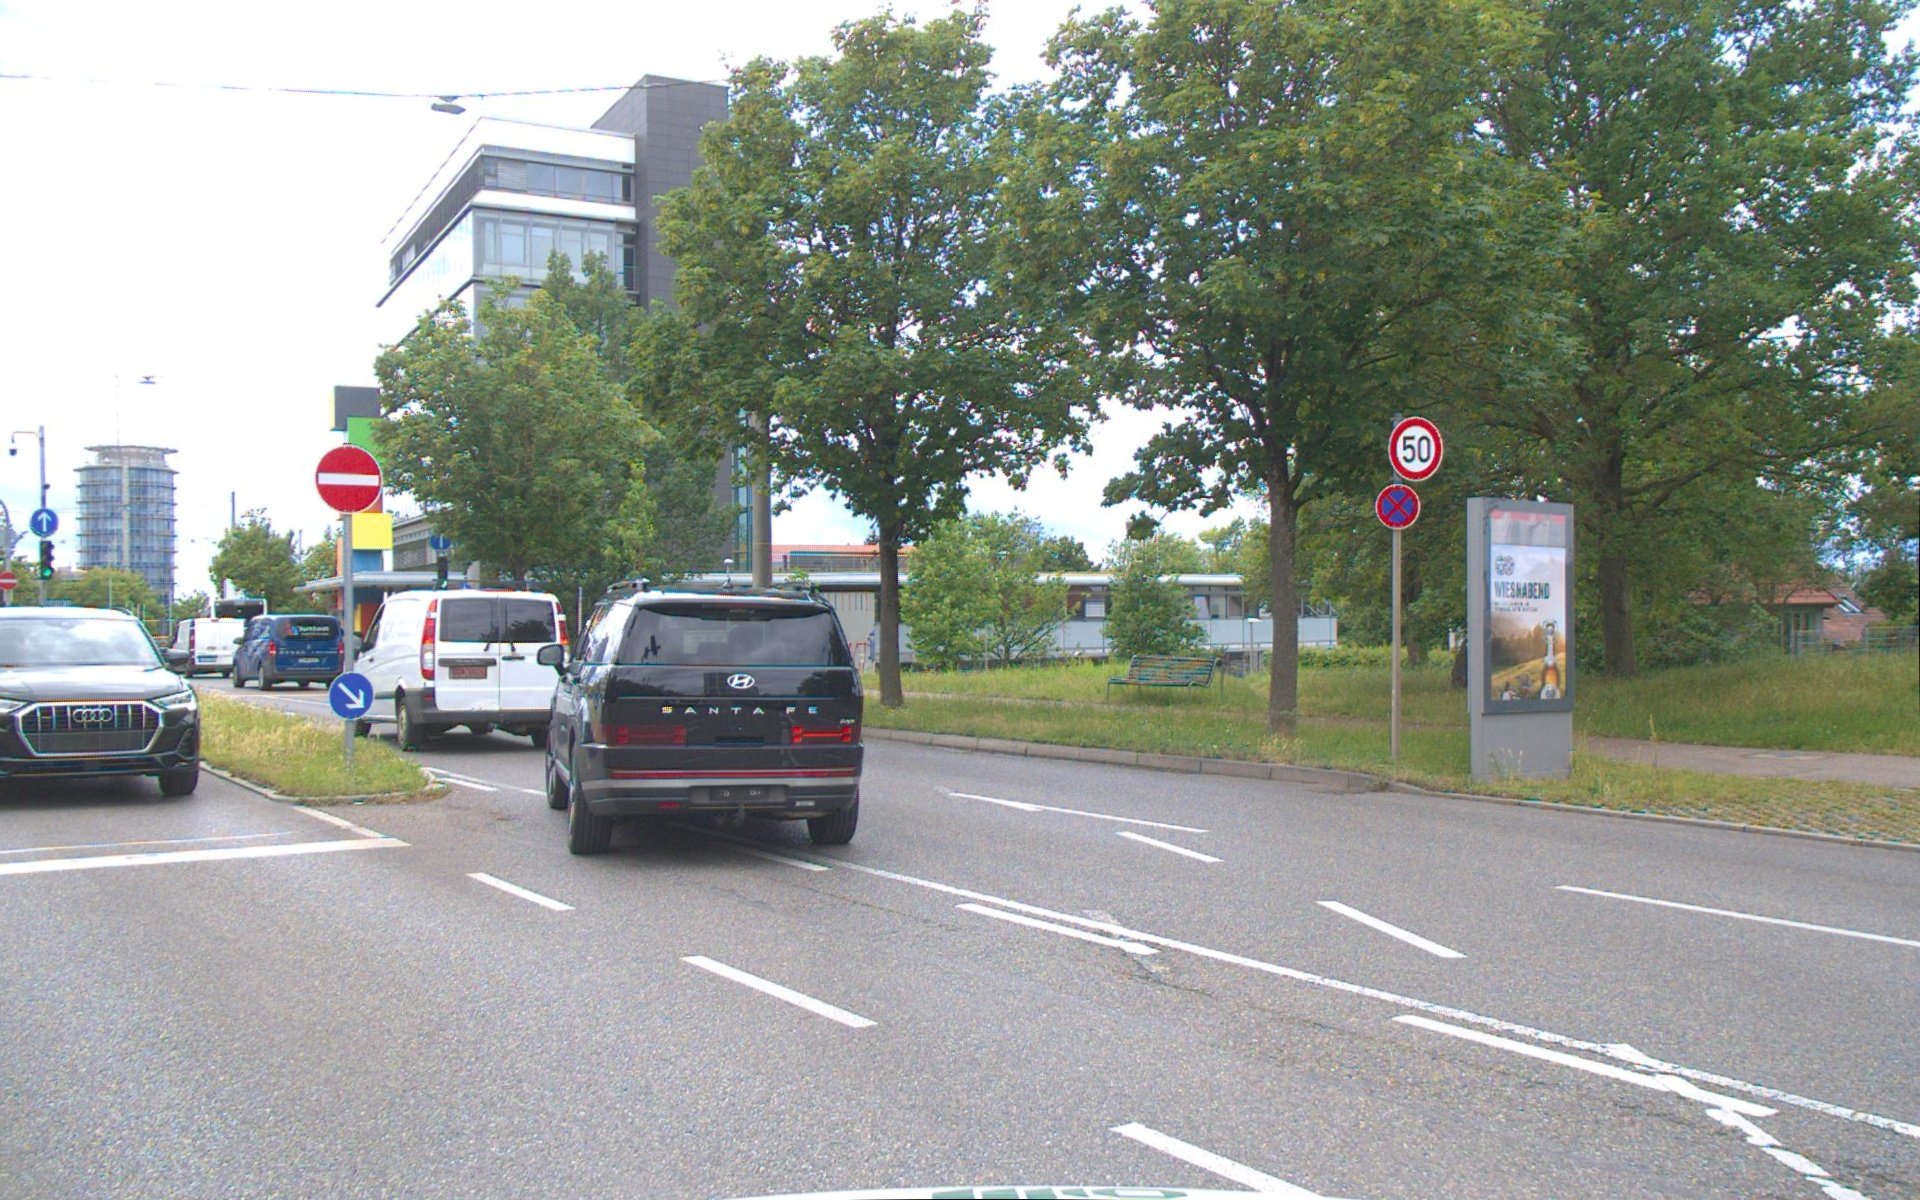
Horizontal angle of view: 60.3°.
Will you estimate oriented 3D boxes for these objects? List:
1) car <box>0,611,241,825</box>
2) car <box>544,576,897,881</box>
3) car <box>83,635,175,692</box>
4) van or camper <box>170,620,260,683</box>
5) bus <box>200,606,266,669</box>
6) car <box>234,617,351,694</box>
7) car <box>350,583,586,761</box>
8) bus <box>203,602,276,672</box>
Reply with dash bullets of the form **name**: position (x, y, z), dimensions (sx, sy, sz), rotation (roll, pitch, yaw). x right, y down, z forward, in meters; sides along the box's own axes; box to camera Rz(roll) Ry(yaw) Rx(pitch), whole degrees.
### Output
- **car**: position (-7.890, 0.917, 14.716), dimensions (1.873, 1.592, 4.341), rotation (2, -1, -35)
- **car**: position (-1.926, 0.794, 11.971), dimensions (1.872, 1.762, 4.425), rotation (1, -1, -17)
- **car**: position (-23.150, 1.737, 45.995), dimensions (1.855, 1.443, 4.393), rotation (2, -1, -32)
- **van or camper**: position (-25.059, 1.696, 55.548), dimensions (1.977, 1.951, 4.354), rotation (1, 0, -35)
- **bus**: position (-39.822, 2.066, 90.407), dimensions (2.916, 3.166, 9.892), rotation (-1, -1, -26)
- **car**: position (-17.397, 1.402, 42.968), dimensions (1.885, 1.892, 4.654), rotation (2, -2, -34)
- **car**: position (-6.399, 0.855, 21.149), dimensions (1.882, 2.003, 4.589), rotation (2, -1, -30)
- **bus**: position (-35.742, 1.844, 81.904), dimensions (2.930, 3.171, 9.166), rotation (-1, -1, -26)
